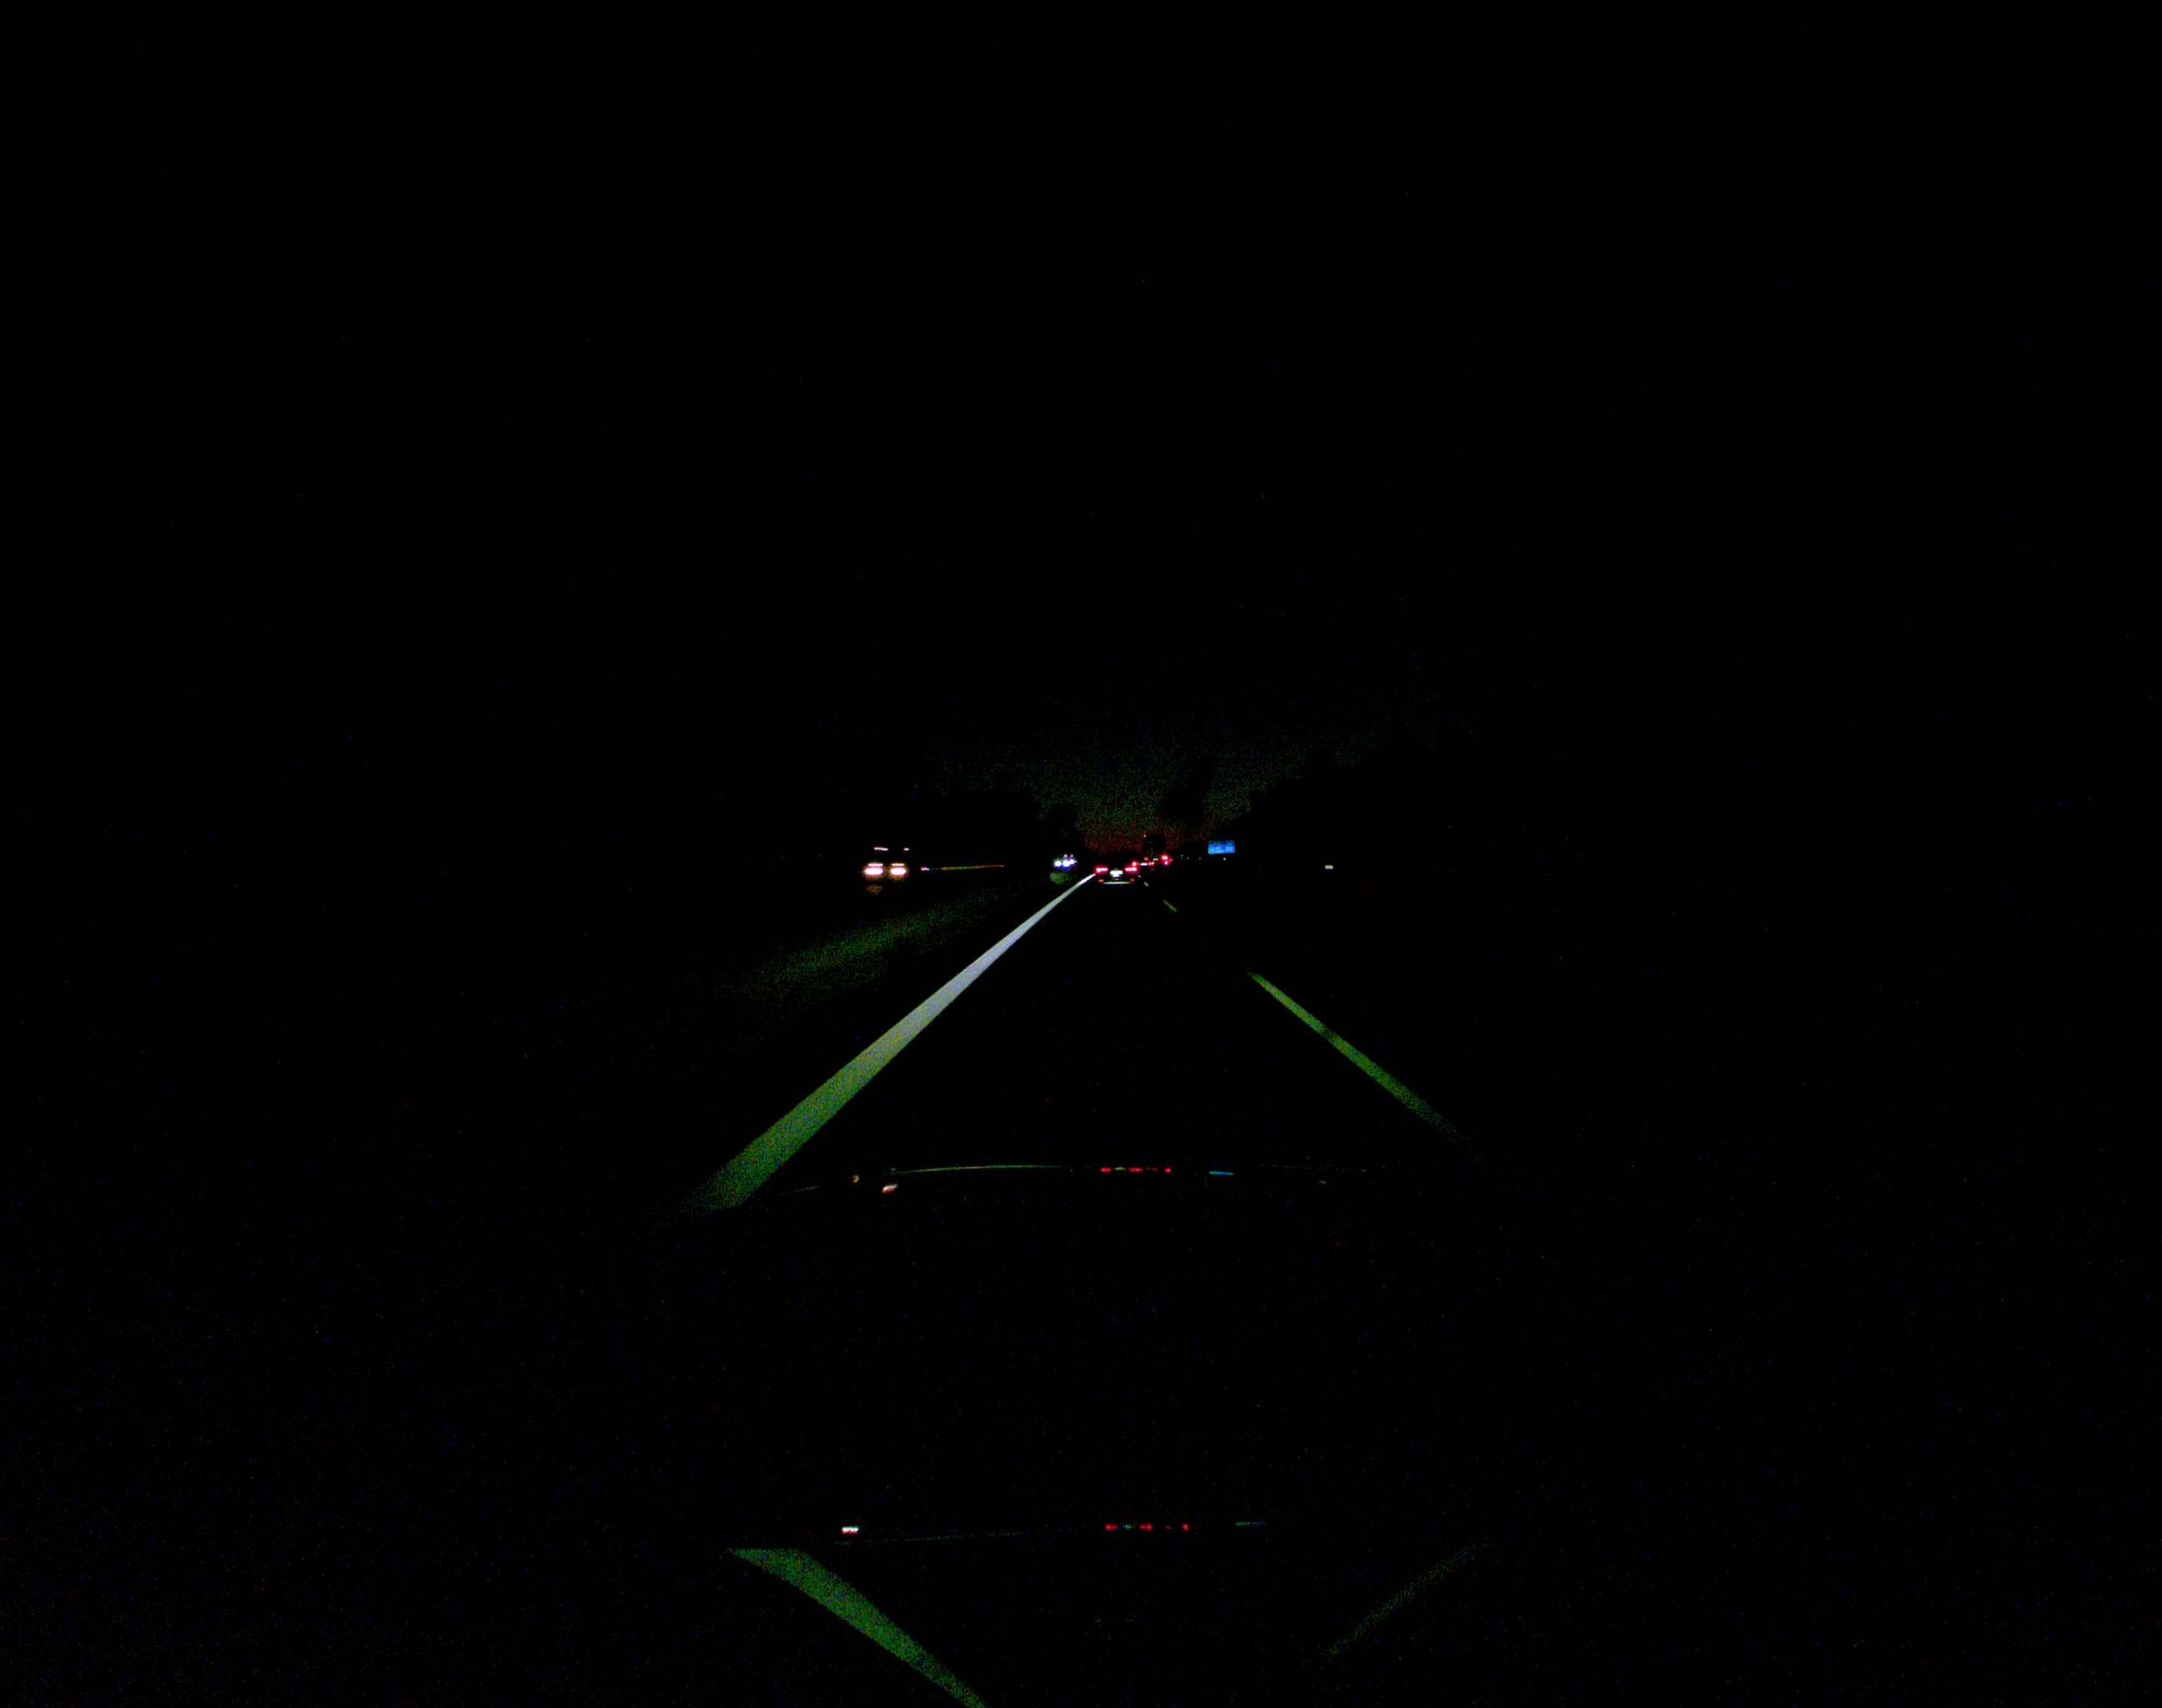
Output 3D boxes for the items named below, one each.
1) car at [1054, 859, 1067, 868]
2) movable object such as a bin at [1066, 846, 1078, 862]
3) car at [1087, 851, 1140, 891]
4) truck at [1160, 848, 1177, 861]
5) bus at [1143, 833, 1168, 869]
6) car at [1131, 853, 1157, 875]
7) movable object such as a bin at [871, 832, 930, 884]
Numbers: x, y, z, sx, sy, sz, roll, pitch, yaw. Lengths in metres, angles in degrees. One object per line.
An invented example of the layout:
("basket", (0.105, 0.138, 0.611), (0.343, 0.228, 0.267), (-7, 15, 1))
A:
("car", (-3.579, 1.650, 144.016), (1.925, 1.453, 4.456), (-1, 0, 2))
("movable object such as a bin", (-2.208, 0.059, 197.420), (2.283, 3.769, 7.694), (-1, 0, 4))
("car", (1.327, 0.734, 35.163), (2.099, 1.618, 4.203), (0, -2, 0))
("truck", (19.891, 0.136, 185.791), (2.541, 3.016, 9.040), (0, 0, -4))
("bus", (9.183, -0.219, 100.787), (2.640, 3.994, 14.718), (-3, -2, 4))
("car", (5.240, 0.899, 68.237), (1.904, 1.730, 4.001), (2, -1, 2))
("movable object such as a bin", (-12.723, 0.296, 57.963), (2.199, 3.417, 7.442), (-1, 0, 3))
